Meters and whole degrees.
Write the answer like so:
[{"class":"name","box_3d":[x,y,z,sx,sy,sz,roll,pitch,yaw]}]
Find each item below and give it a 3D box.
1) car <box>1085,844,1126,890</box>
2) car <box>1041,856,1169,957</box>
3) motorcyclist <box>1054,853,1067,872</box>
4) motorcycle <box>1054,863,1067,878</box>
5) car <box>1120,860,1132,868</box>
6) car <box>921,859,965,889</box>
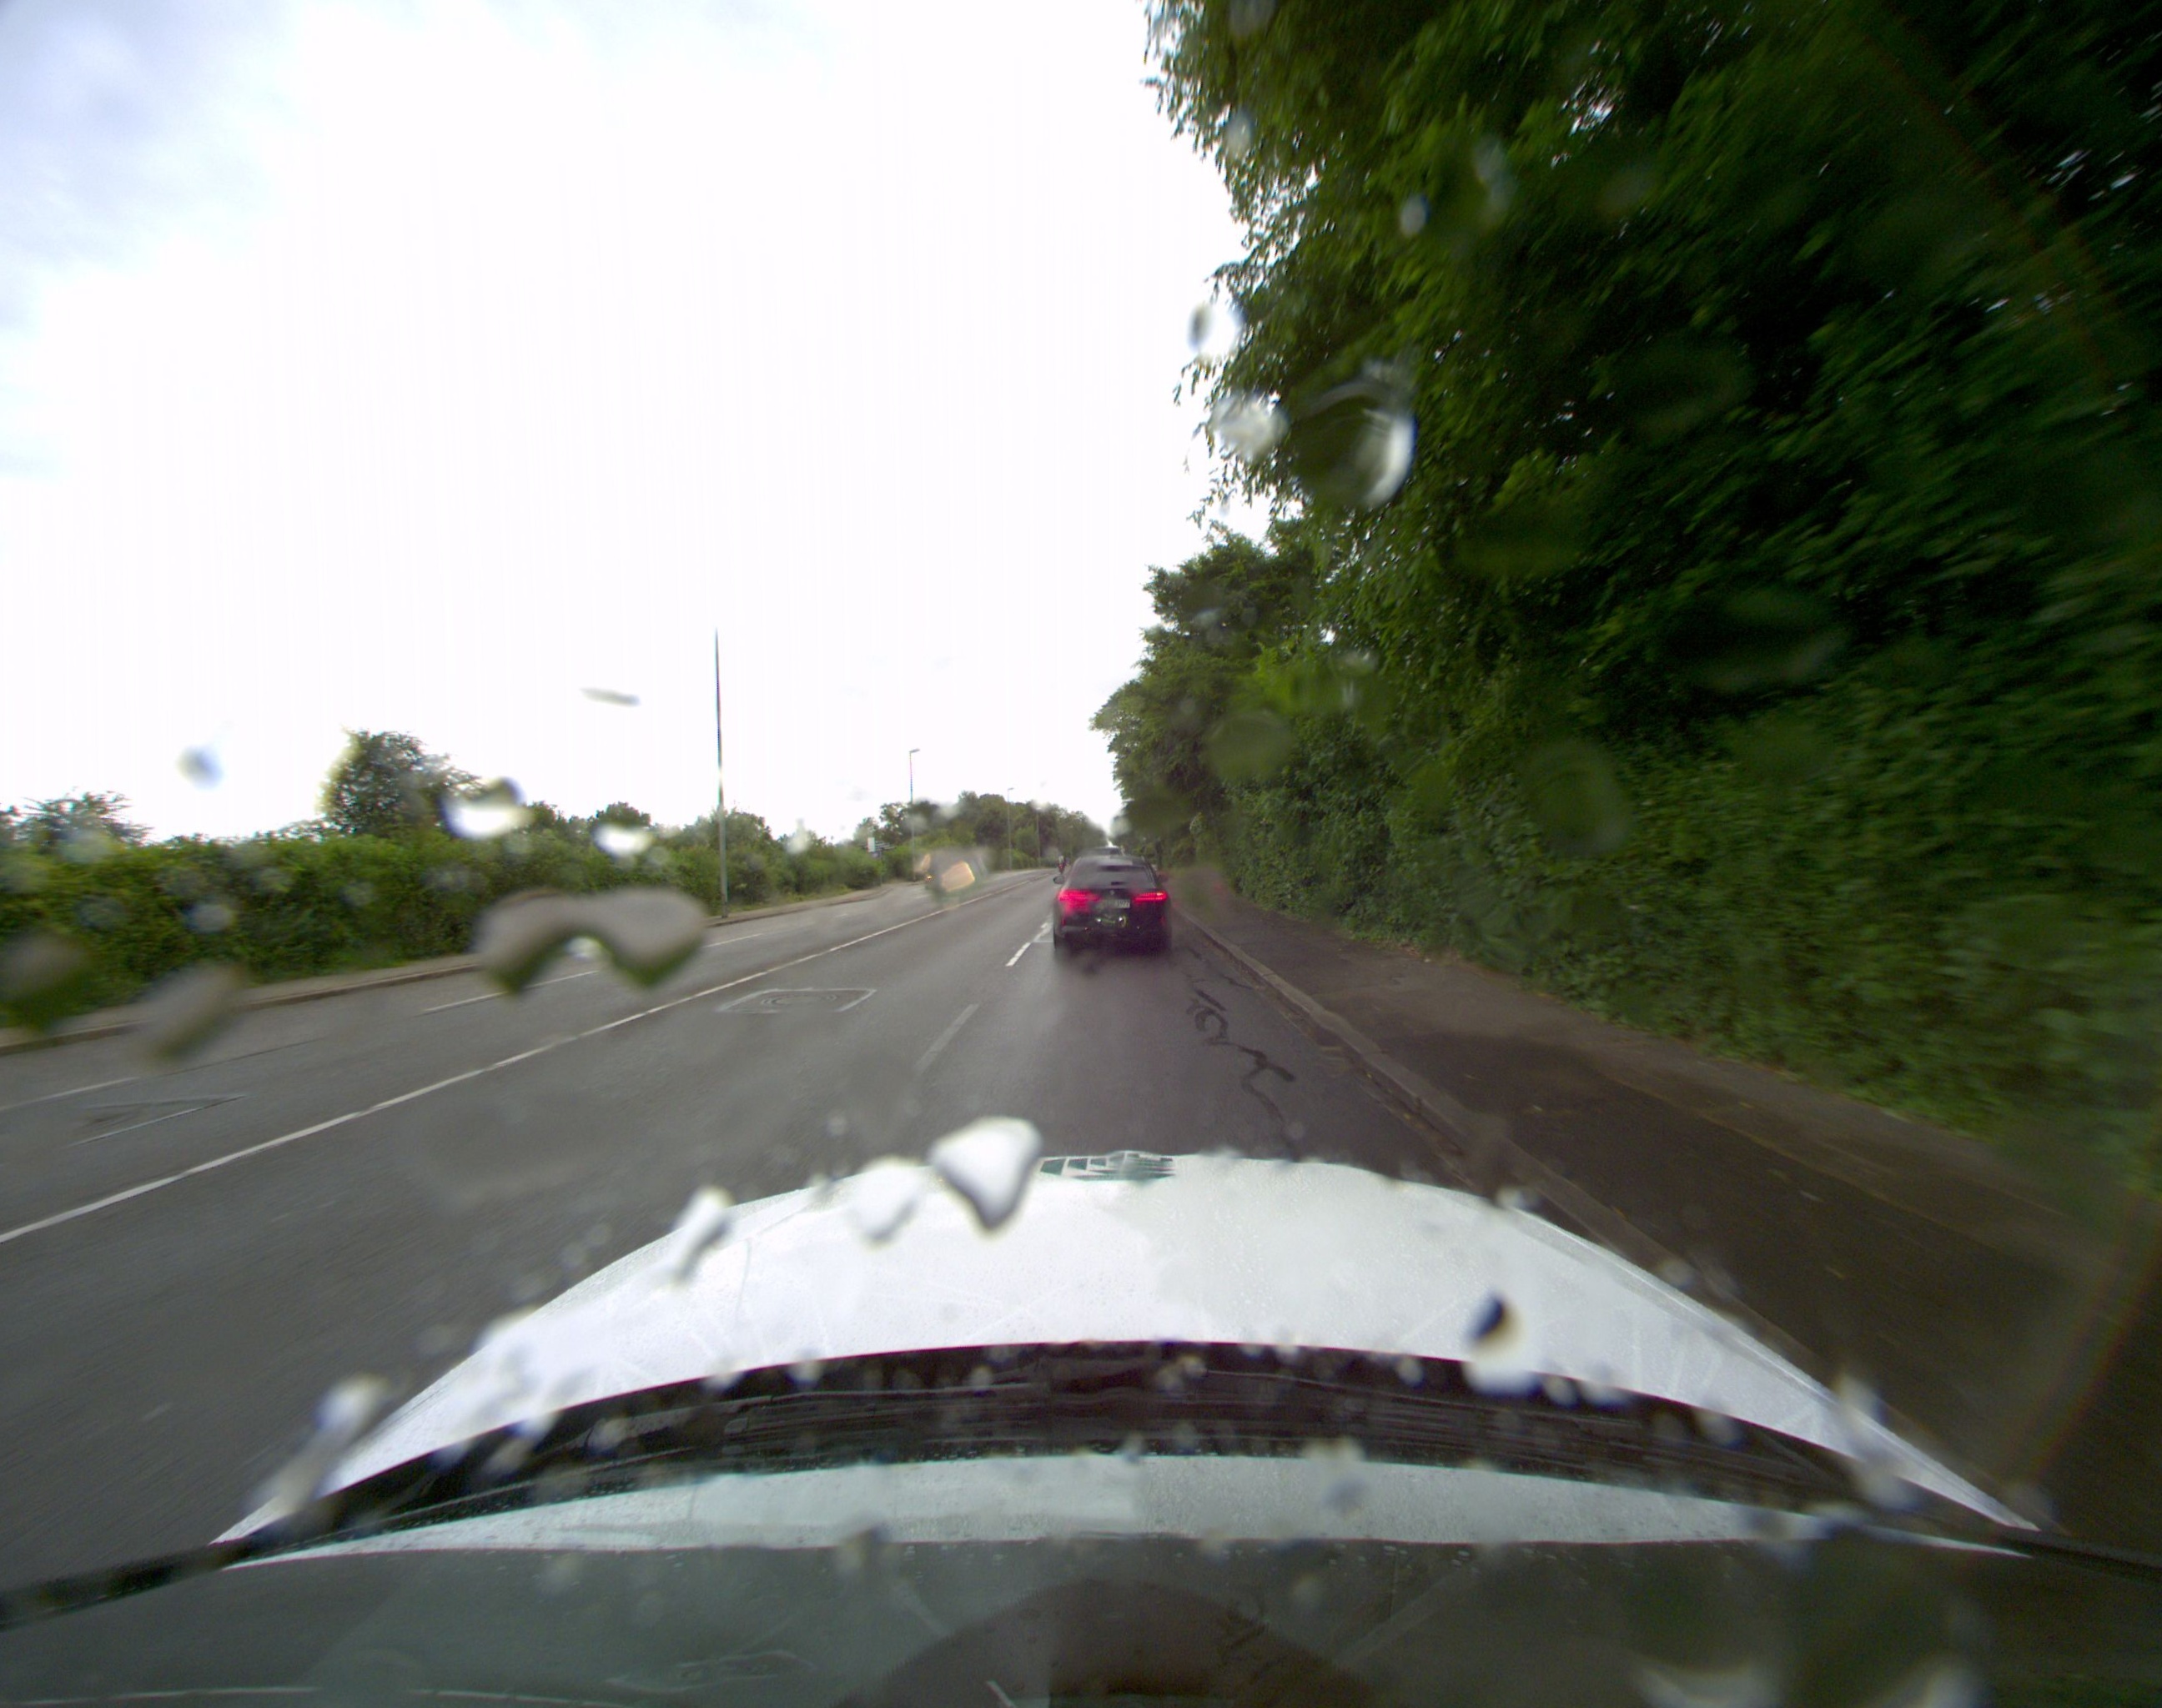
[{"class":"car","box_3d":[1.083,0.531,35.808,1.623,1.833,4.002,-3,0,2]},{"class":"car","box_3d":[0.451,0.801,14.096,1.889,1.489,4.003,0,0,3]},{"class":"motorcyclist","box_3d":[-1.628,0.682,65.252,1.035,1.567,0.855,-1,-1,1]},{"class":"motorcycle","box_3d":[-1.625,1.331,65.181,0.872,1.124,2.742,-1,-1,2]},{"class":"car","box_3d":[8.158,1.768,148.156,1.927,1.442,4.413,-2,-1,4]},{"class":"car","box_3d":[-8.023,1.148,47.625,1.750,1.568,4.000,-4,0,0]}]
